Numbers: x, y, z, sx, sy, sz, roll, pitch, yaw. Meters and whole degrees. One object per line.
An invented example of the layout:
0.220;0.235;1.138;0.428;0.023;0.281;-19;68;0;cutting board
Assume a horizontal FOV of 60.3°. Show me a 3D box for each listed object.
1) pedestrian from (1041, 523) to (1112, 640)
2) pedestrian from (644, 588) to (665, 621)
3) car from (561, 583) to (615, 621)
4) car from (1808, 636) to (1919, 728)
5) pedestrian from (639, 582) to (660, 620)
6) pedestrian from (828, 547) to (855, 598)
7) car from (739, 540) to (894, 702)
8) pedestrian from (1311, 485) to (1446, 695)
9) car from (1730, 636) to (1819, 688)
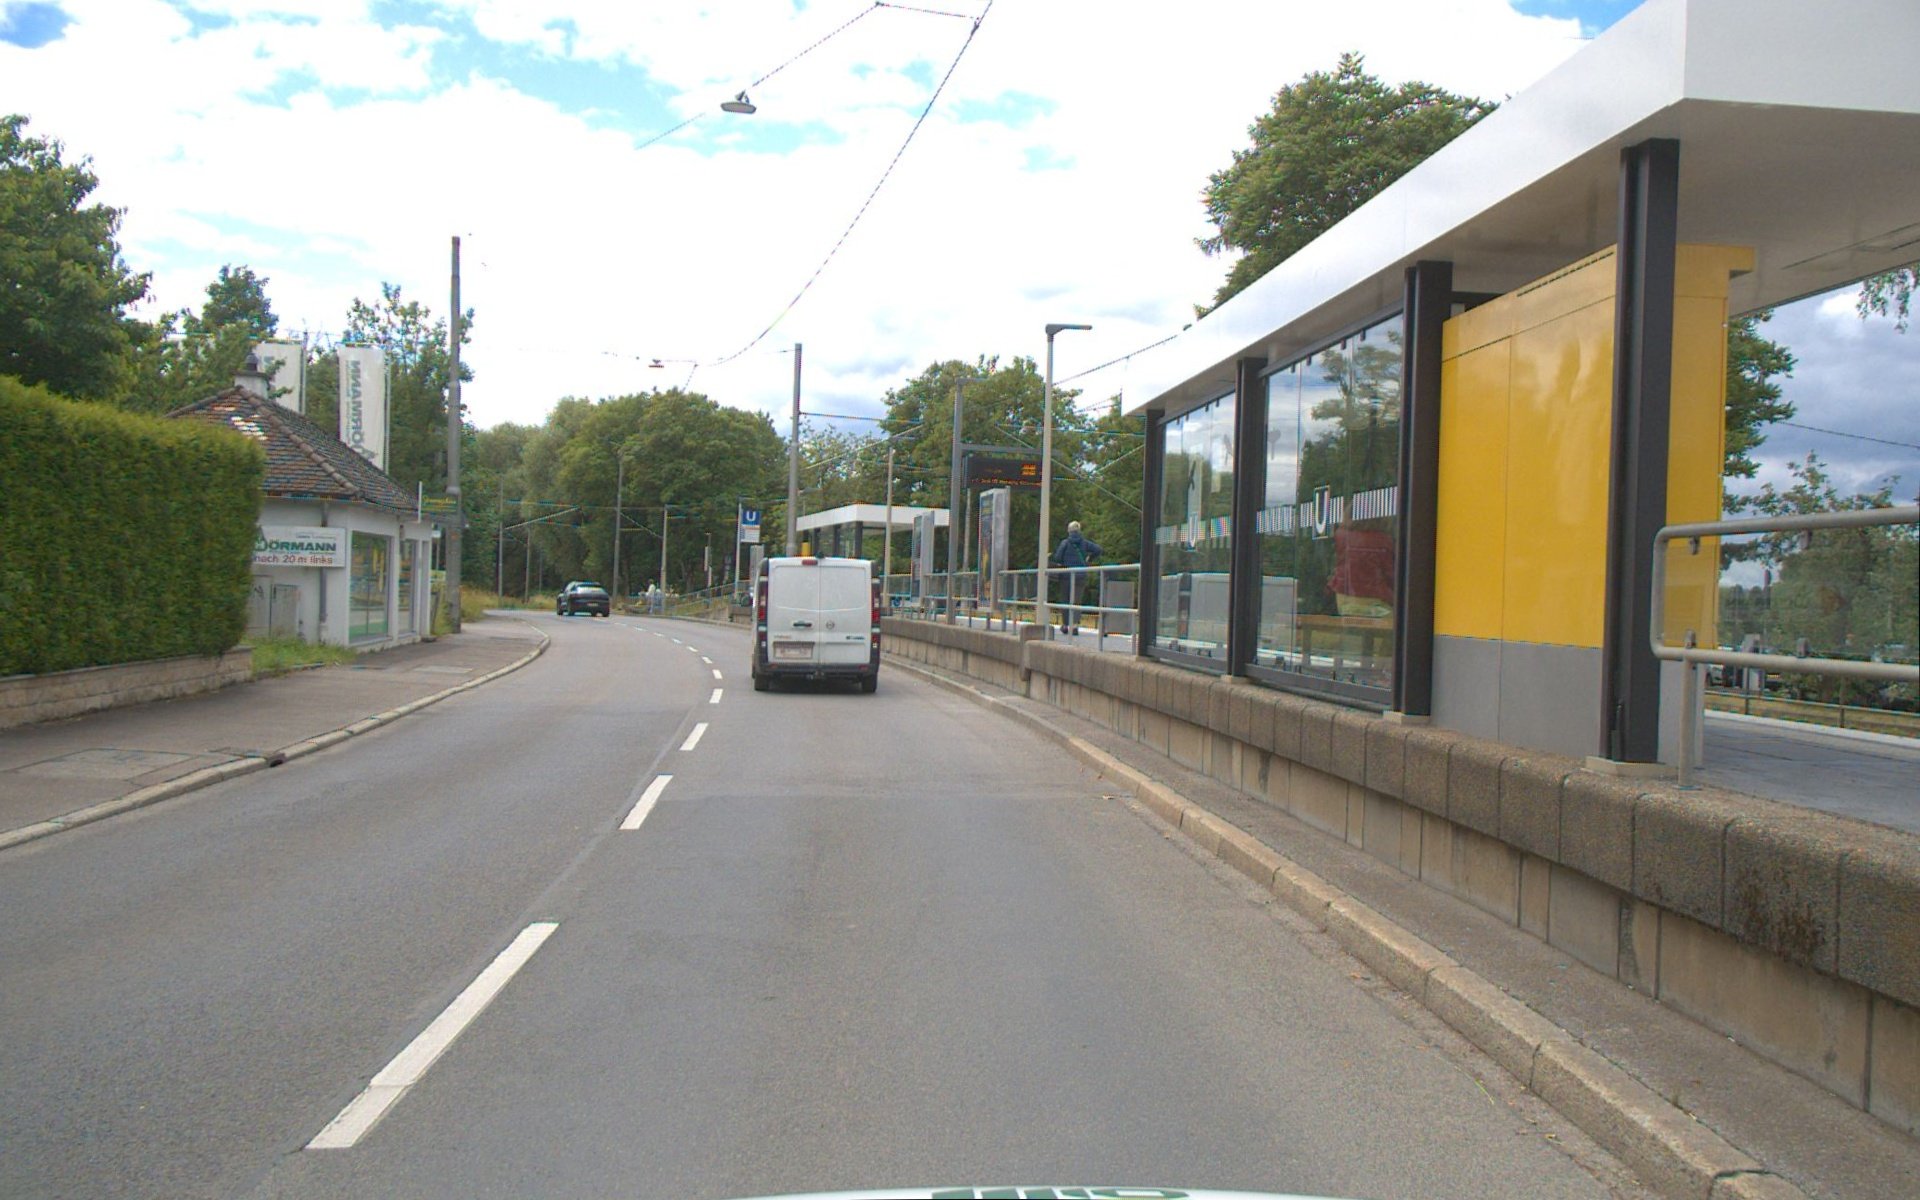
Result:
1.744;-0.276;24.818;0.869;1.700;0.908;2;0;-6;pedestrian
-14.443;0.201;78.109;0.754;1.518;0.622;2;0;-41;pedestrian
-17.807;0.098;78.996;2.316;1.591;4.356;4;-1;-14;car
17.508;1.490;30.645;1.801;1.514;4.505;2;0;8;car
-14.925;0.039;79.616;0.754;1.826;0.622;2;0;-41;pedestrian
-3.392;-0.782;47.218;0.628;1.429;0.762;1;1;-14;pedestrian
-2.379;0.292;26.006;2.077;2.171;5.431;3;0;-8;car
2.747;-0.063;10.911;0.608;1.321;0.718;2;0;-7;pedestrian
28.534;2.141;58.076;2.020;1.601;4.263;2;0;16;car
